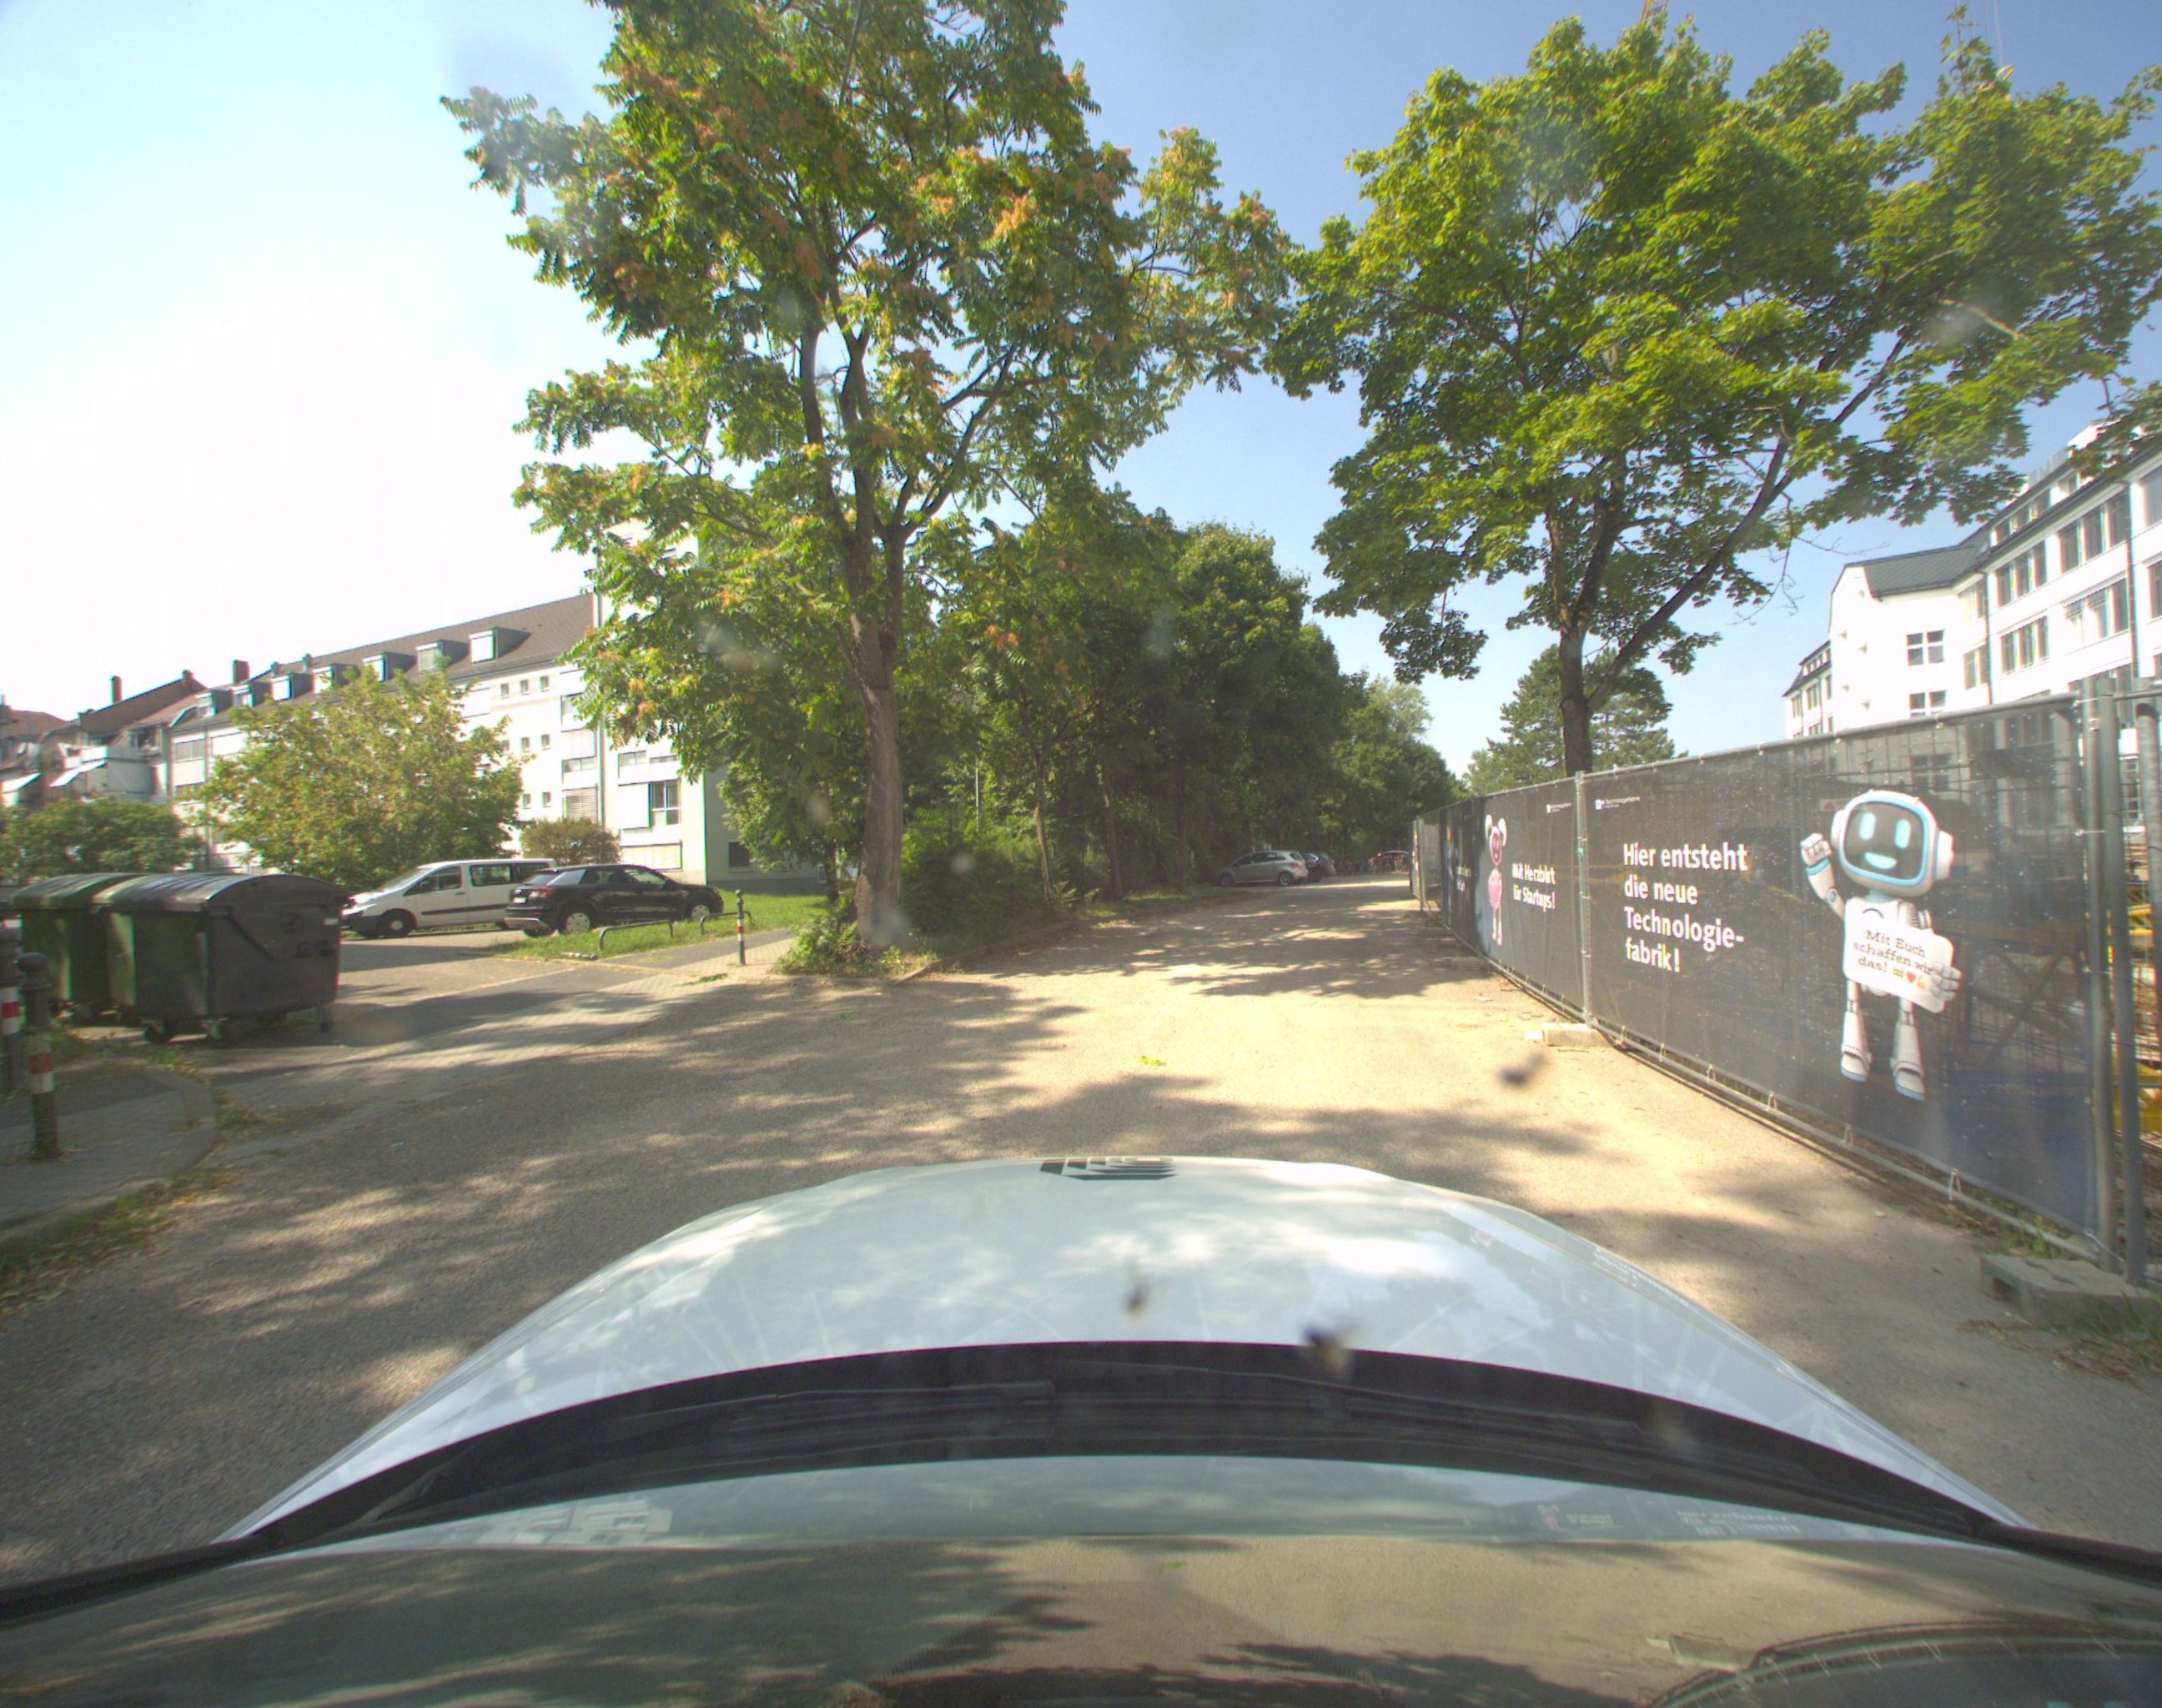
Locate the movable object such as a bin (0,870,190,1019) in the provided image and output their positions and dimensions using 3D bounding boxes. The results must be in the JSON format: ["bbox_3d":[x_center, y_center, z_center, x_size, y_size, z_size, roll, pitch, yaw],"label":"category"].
[{"bbox_3d":[-11.166,0.950,9.133,1.192,1.496,1.257,-1,-1,23],"label":"movable object such as a bin"}]

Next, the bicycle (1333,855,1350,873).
[{"bbox_3d":[17.057,0.659,53.291,0.493,1.107,1.812,-2,0,34],"label":"bicycle"}]

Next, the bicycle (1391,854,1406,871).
[{"bbox_3d":[21.572,0.566,55.295,0.493,1.107,1.812,-2,0,34],"label":"bicycle"}]

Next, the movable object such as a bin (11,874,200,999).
[{"bbox_3d":[-12.409,0.999,10.391,1.192,1.444,1.257,-1,-1,23],"label":"movable object such as a bin"}]

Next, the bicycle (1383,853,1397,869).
[{"bbox_3d":[22.876,0.515,60.283,0.493,1.107,1.812,-2,0,34],"label":"bicycle"}]

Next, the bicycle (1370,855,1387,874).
[{"bbox_3d":[18.073,0.637,49.491,0.493,1.107,1.812,-2,0,34],"label":"bicycle"}]

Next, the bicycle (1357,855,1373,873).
[{"bbox_3d":[18.470,0.637,52.952,0.493,1.107,1.812,-2,0,34],"label":"bicycle"}]

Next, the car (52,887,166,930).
[{"bbox_3d":[-37.766,2.110,31.634,3.951,1.510,1.810,-3,-1,24],"label":"car"}]

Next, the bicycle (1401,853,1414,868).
[{"bbox_3d":[24.033,0.462,59.884,0.493,1.107,1.812,-2,0,34],"label":"bicycle"}]

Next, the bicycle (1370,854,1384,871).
[{"bbox_3d":[20.886,0.591,57.463,0.493,1.107,1.812,-2,0,34],"label":"bicycle"}]

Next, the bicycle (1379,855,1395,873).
[{"bbox_3d":[19.469,0.606,51.777,0.493,1.107,1.812,-2,0,34],"label":"bicycle"}]

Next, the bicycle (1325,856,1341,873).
[{"bbox_3d":[16.584,0.683,53.543,0.493,1.107,1.812,-2,0,34],"label":"bicycle"}]

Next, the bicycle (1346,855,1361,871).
[{"bbox_3d":[18.940,0.620,56.667,0.493,1.107,1.812,-2,0,34],"label":"bicycle"}]

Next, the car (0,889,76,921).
[{"bbox_3d":[-54.319,2.661,42.215,3.951,1.510,1.810,-3,-1,24],"label":"car"}]

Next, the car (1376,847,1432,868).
[{"bbox_3d":[25.843,0.282,65.104,3.949,1.510,1.811,-1,0,28],"label":"car"}]

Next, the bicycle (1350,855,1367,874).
[{"bbox_3d":[17.259,0.657,50.584,0.493,1.107,1.812,-2,0,34],"label":"bicycle"}]

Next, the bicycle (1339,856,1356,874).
[{"bbox_3d":[16.802,0.670,51.345,0.493,1.107,1.812,-2,0,34],"label":"bicycle"}]

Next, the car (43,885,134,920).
[{"bbox_3d":[-47.852,2.346,39.262,3.951,1.510,1.810,-3,-1,24],"label":"car"}]

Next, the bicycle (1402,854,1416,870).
[{"bbox_3d":[22.980,0.539,57.054,0.493,1.107,1.812,-2,0,34],"label":"bicycle"}]

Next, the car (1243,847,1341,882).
[{"bbox_3d":[10.098,0.517,39.062,4.107,1.612,2.013,-1,0,30],"label":"car"}]

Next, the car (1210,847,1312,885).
[{"bbox_3d":[8.186,0.558,37.088,4.107,1.612,2.013,-1,0,30],"label":"car"}]

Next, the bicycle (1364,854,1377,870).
[{"bbox_3d":[21.535,0.575,60.582,0.493,1.107,1.812,-2,0,34],"label":"bicycle"}]

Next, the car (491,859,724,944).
[{"bbox_3d":[-9.960,0.927,17.401,1.685,1.528,3.937,-2,-1,35],"label":"car"}]

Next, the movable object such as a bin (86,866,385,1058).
[{"bbox_3d":[-7.429,0.875,7.238,1.358,1.493,1.341,-1,-1,15],"label":"movable object such as a bin"}]

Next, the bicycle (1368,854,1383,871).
[{"bbox_3d":[20.082,0.597,55.494,0.493,1.107,1.812,-2,0,34],"label":"bicycle"}]

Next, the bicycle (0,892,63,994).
[{"bbox_3d":[-14.874,1.217,11.358,2.145,1.303,0.613,-3,-1,33],"label":"bicycle"}]

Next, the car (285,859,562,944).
[{"bbox_3d":[-17.026,1.138,21.415,2.470,1.881,5.117,-2,-1,32],"label":"car"}]

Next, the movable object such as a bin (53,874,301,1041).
[{"bbox_3d":[-8.815,0.934,7.985,1.316,1.432,1.256,-1,-1,23],"label":"movable object such as a bin"}]

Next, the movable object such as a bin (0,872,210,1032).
[{"bbox_3d":[-9.988,0.938,8.363,1.088,1.482,1.107,-1,-1,23],"label":"movable object such as a bin"}]
